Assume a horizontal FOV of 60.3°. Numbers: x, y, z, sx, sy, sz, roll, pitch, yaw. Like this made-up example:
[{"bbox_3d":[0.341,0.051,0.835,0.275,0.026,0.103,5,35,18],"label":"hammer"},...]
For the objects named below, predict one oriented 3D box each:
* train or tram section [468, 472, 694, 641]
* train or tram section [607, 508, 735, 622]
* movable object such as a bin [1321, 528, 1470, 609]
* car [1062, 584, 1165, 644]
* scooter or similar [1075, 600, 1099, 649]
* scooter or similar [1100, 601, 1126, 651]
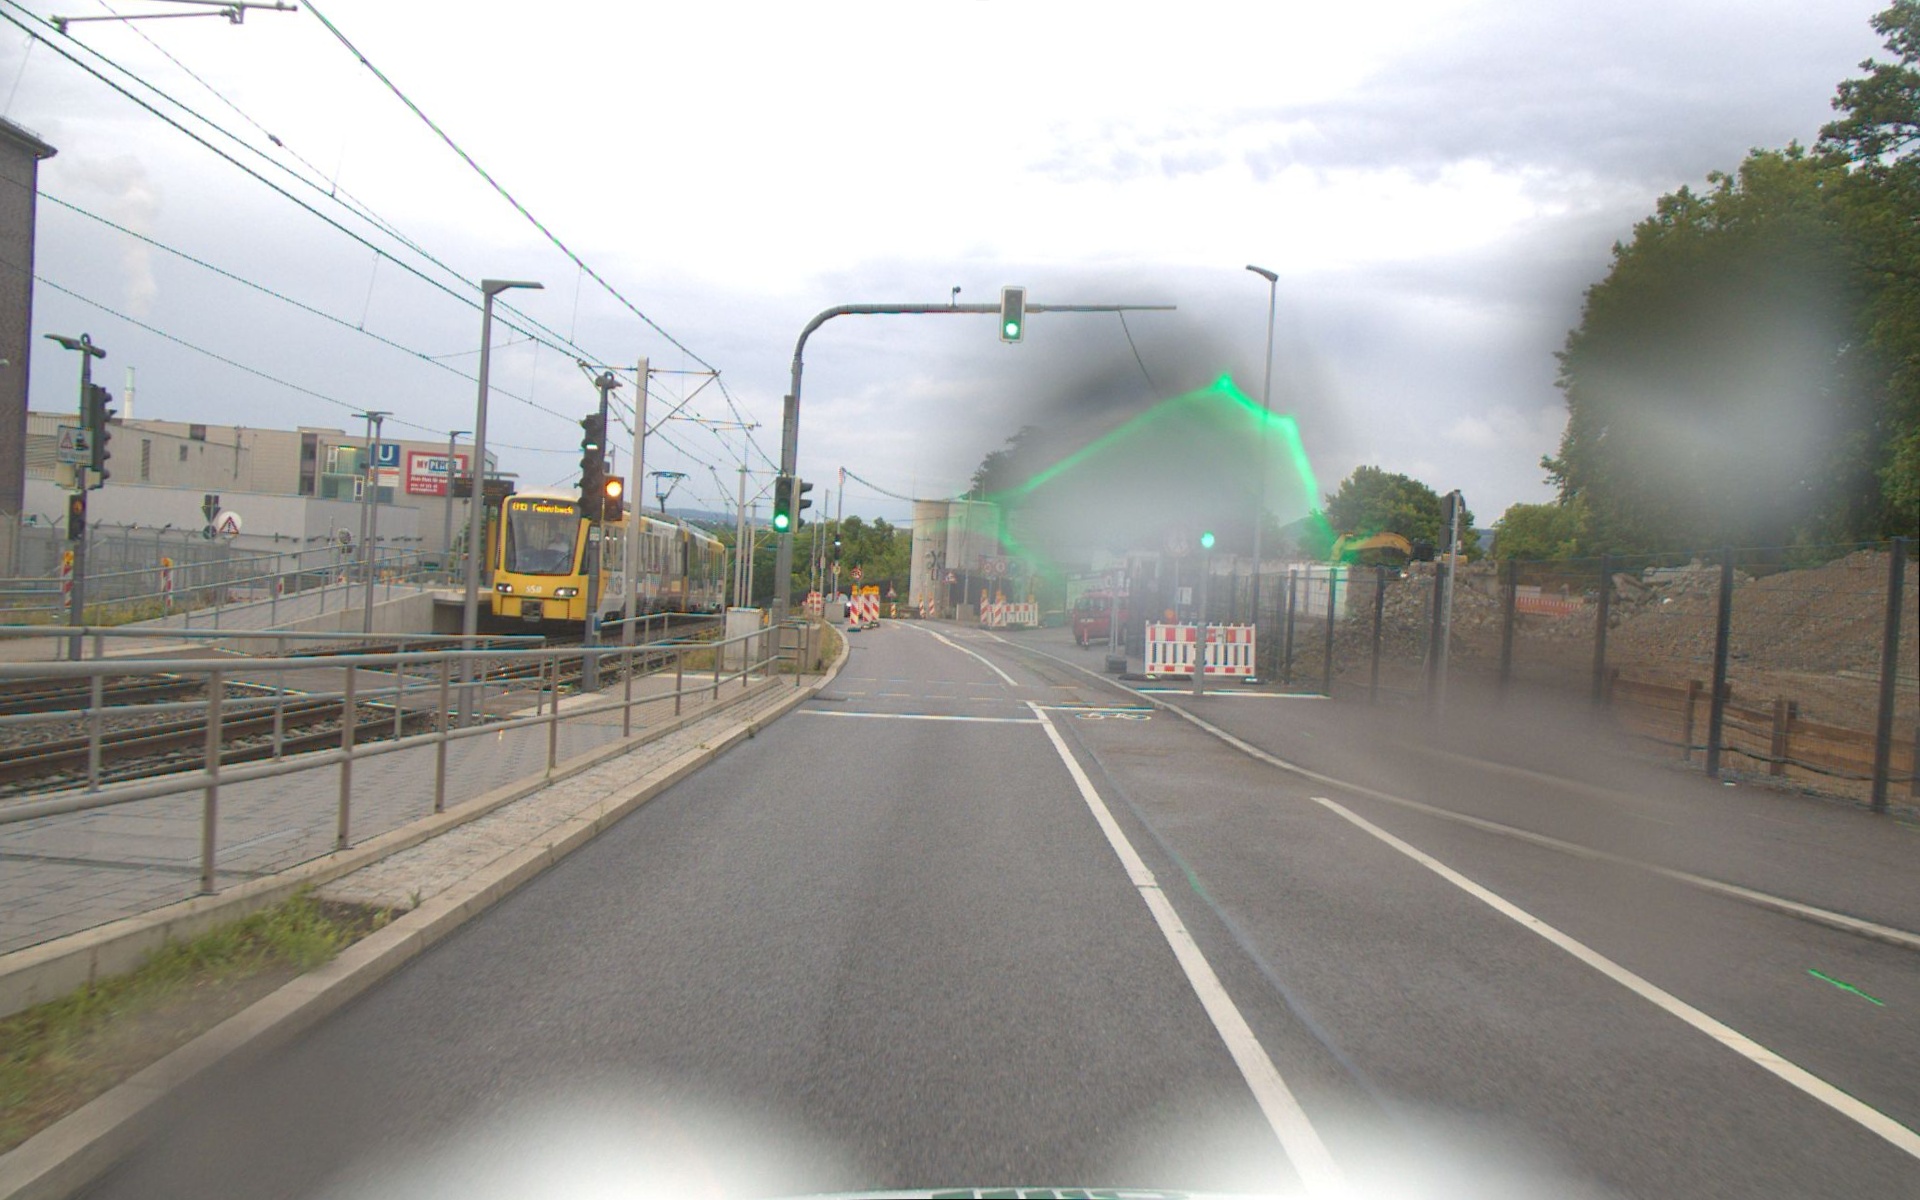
[{"bbox_3d":[-10.857,-1.103,50.306,2.896,3.953,19.563,4,0,-2],"label":"train or tram section"},{"bbox_3d":[-11.799,-1.320,69.710,2.897,3.953,19.278,4,0,-3],"label":"train or tram section"},{"bbox_3d":[34.812,-2.485,132.629,10.995,6.100,3.493,2,0,4],"label":"movable object such as a bin"},{"bbox_3d":[5.050,0.463,53.896,1.784,1.825,4.403,3,0,27],"label":"car"},{"bbox_3d":[3.710,0.696,48.367,0.602,1.375,1.913,2,0,3],"label":"scooter or similar"},{"bbox_3d":[4.449,0.745,48.195,0.602,1.375,1.913,2,0,3],"label":"scooter or similar"}]
